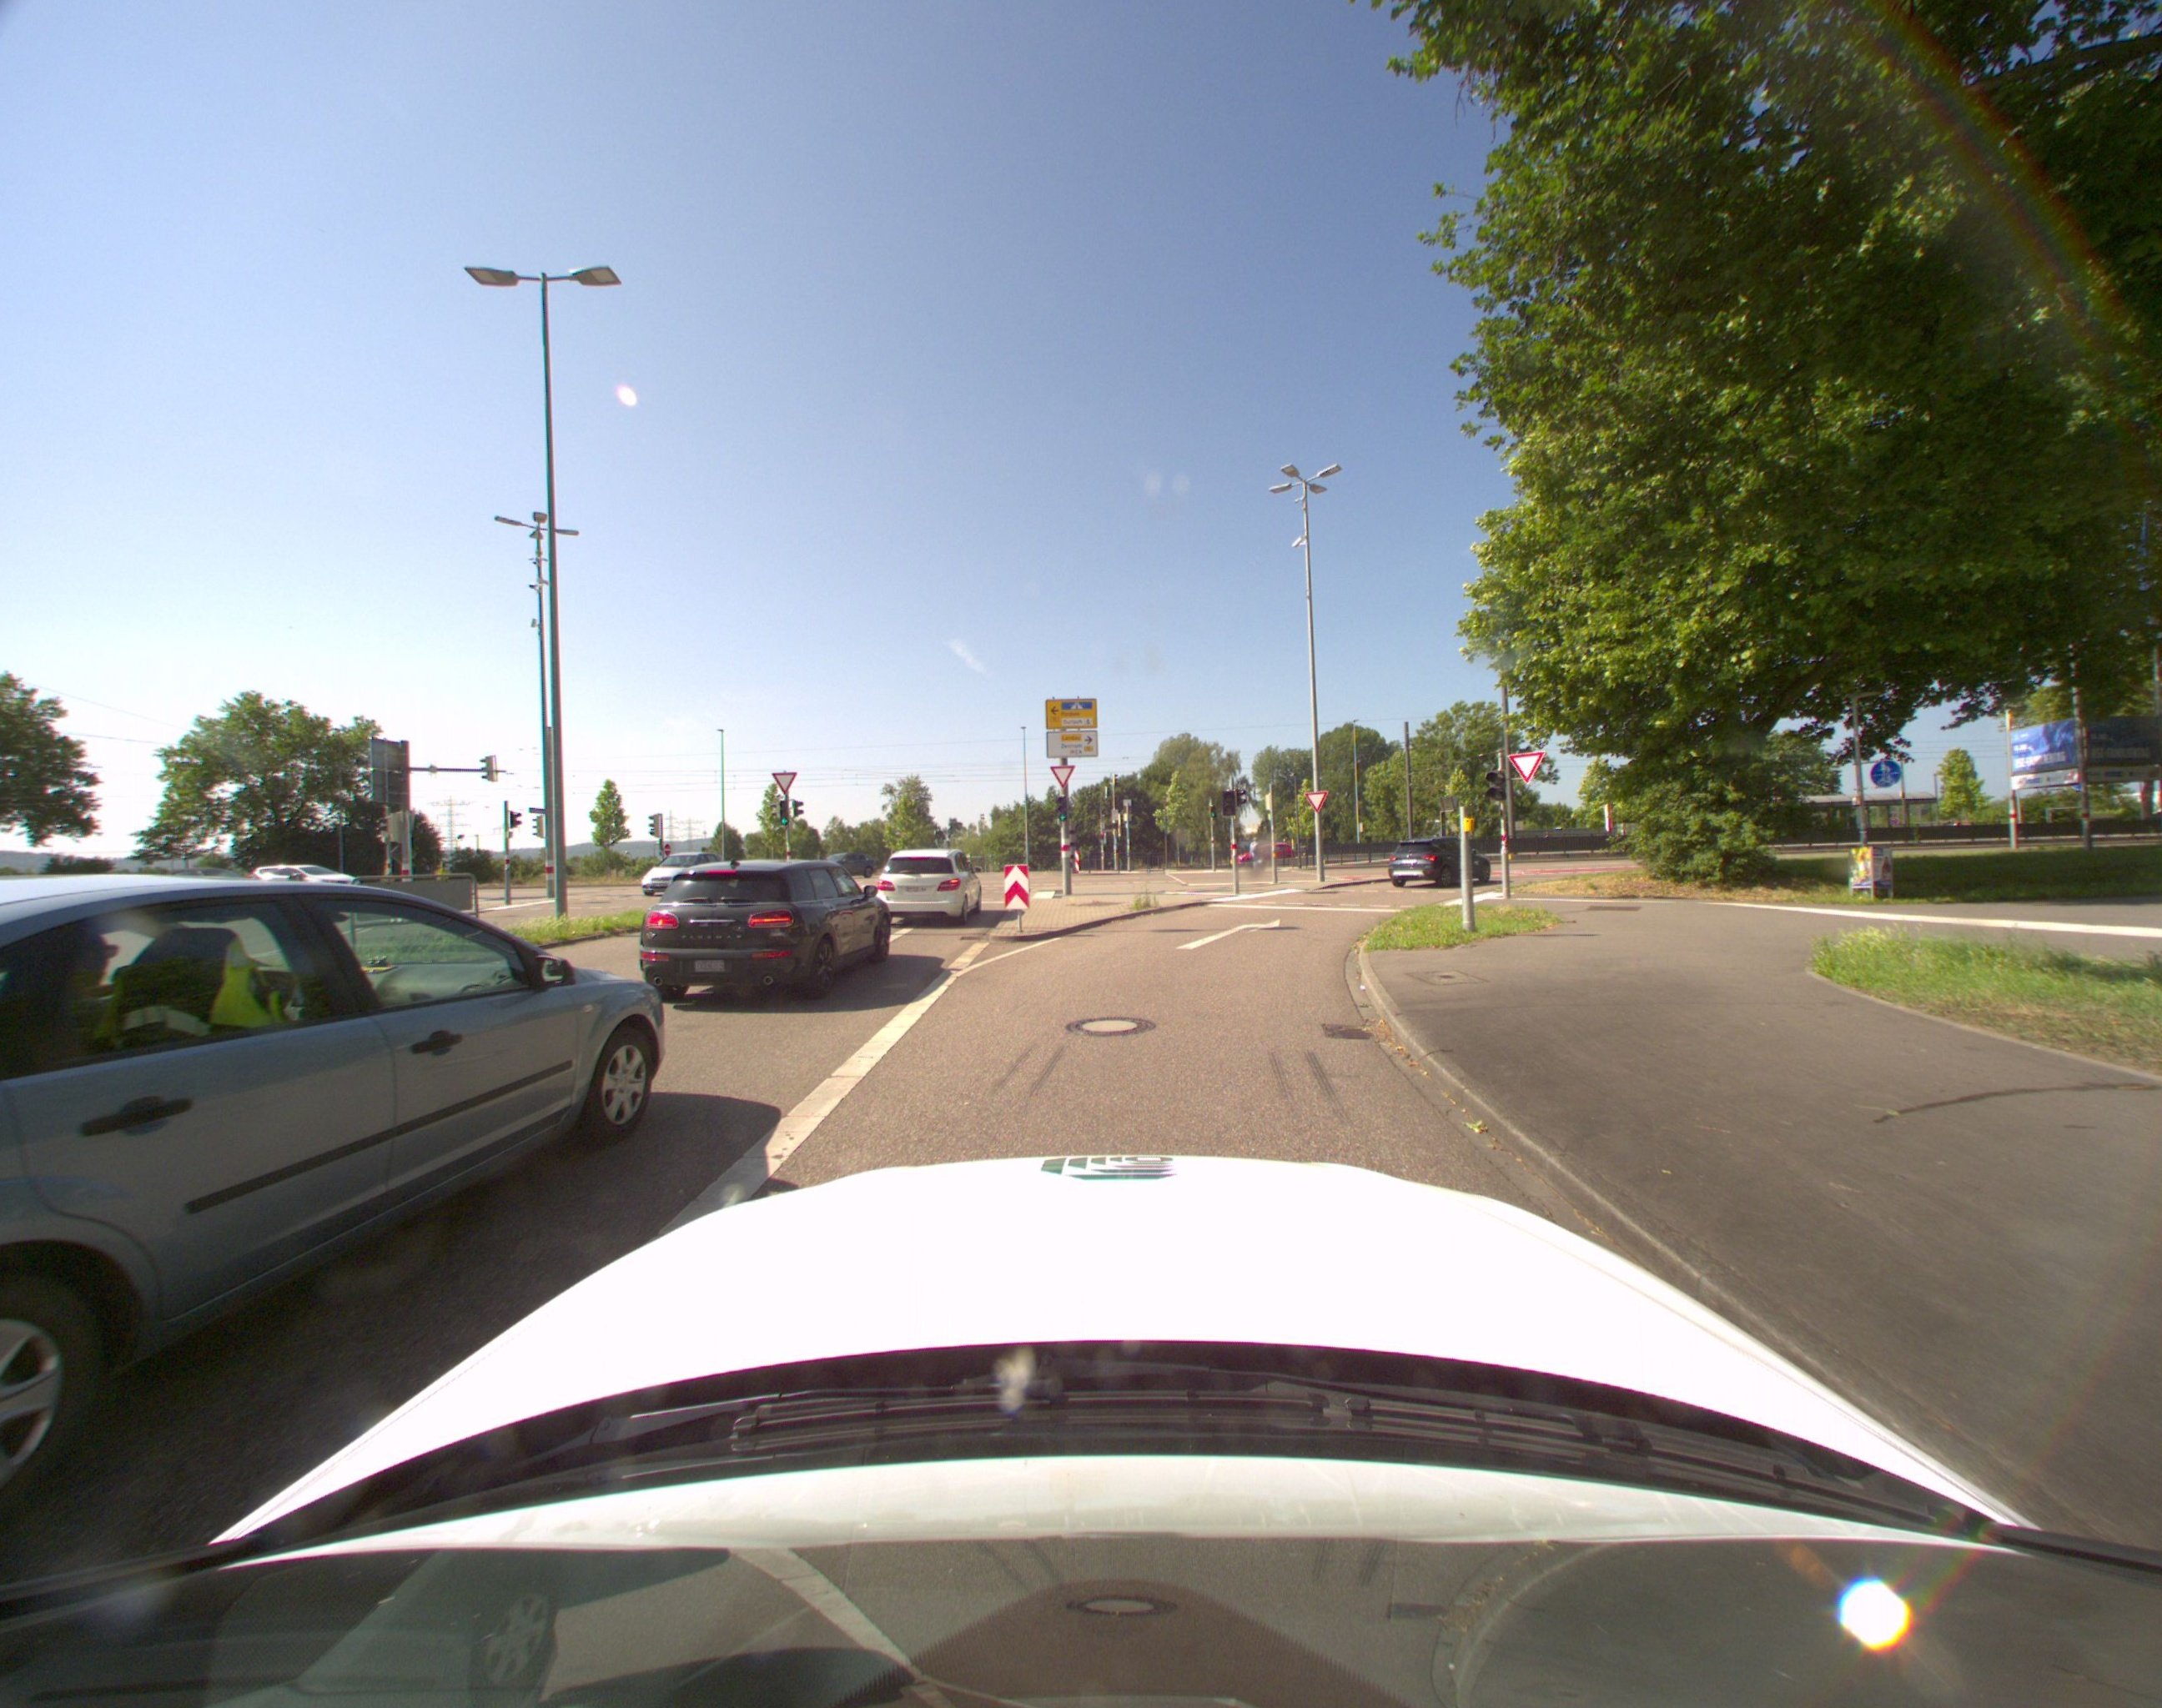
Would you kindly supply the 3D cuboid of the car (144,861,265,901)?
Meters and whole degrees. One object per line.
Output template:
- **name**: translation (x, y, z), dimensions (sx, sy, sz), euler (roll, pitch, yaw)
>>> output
- **car**: translation (-36.454, 1.116, 33.909), dimensions (3.378, 1.500, 1.408), euler (-2, -1, -3)

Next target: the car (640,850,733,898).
- **car**: translation (-15.225, 0.716, 31.677), dimensions (1.622, 1.624, 3.917), euler (-2, 1, 0)

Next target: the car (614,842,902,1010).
- **car**: translation (-3.517, 0.670, 9.816), dimensions (1.732, 1.511, 4.200), euler (-3, 0, 0)

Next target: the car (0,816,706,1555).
- **car**: translation (-3.212, 0.742, 3.029), dimensions (1.701, 1.573, 4.172), euler (-3, 0, -1)

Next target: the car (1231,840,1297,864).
- **car**: translation (12.239, -0.115, 54.550), dimensions (3.977, 1.445, 1.745), euler (-2, 0, -3)

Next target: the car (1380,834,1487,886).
- **car**: translation (11.179, 0.158, 25.757), dimensions (3.393, 1.523, 1.656), euler (-1, 0, -38)

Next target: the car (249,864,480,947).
- **car**: translation (-10.382, 0.701, 12.000), dimensions (1.113, 1.004, 2.493), euler (-2, 0, 2)

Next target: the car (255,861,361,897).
- **car**: translation (-35.308, 1.130, 37.248), dimensions (3.337, 1.500, 1.407), euler (-2, -1, -5)

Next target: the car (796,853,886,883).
- **car**: translation (-13.693, 0.790, 46.769), dimensions (2.039, 1.503, 4.844), euler (-2, 1, 30)

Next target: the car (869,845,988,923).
- **car**: translation (-3.166, 0.556, 17.788), dimensions (1.736, 1.448, 4.388), euler (-1, 0, 0)

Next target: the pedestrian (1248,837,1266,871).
- **pedestrian**: translation (8.163, -0.017, 37.825), dimensions (0.768, 1.510, 1.011), euler (-2, 1, 11)
